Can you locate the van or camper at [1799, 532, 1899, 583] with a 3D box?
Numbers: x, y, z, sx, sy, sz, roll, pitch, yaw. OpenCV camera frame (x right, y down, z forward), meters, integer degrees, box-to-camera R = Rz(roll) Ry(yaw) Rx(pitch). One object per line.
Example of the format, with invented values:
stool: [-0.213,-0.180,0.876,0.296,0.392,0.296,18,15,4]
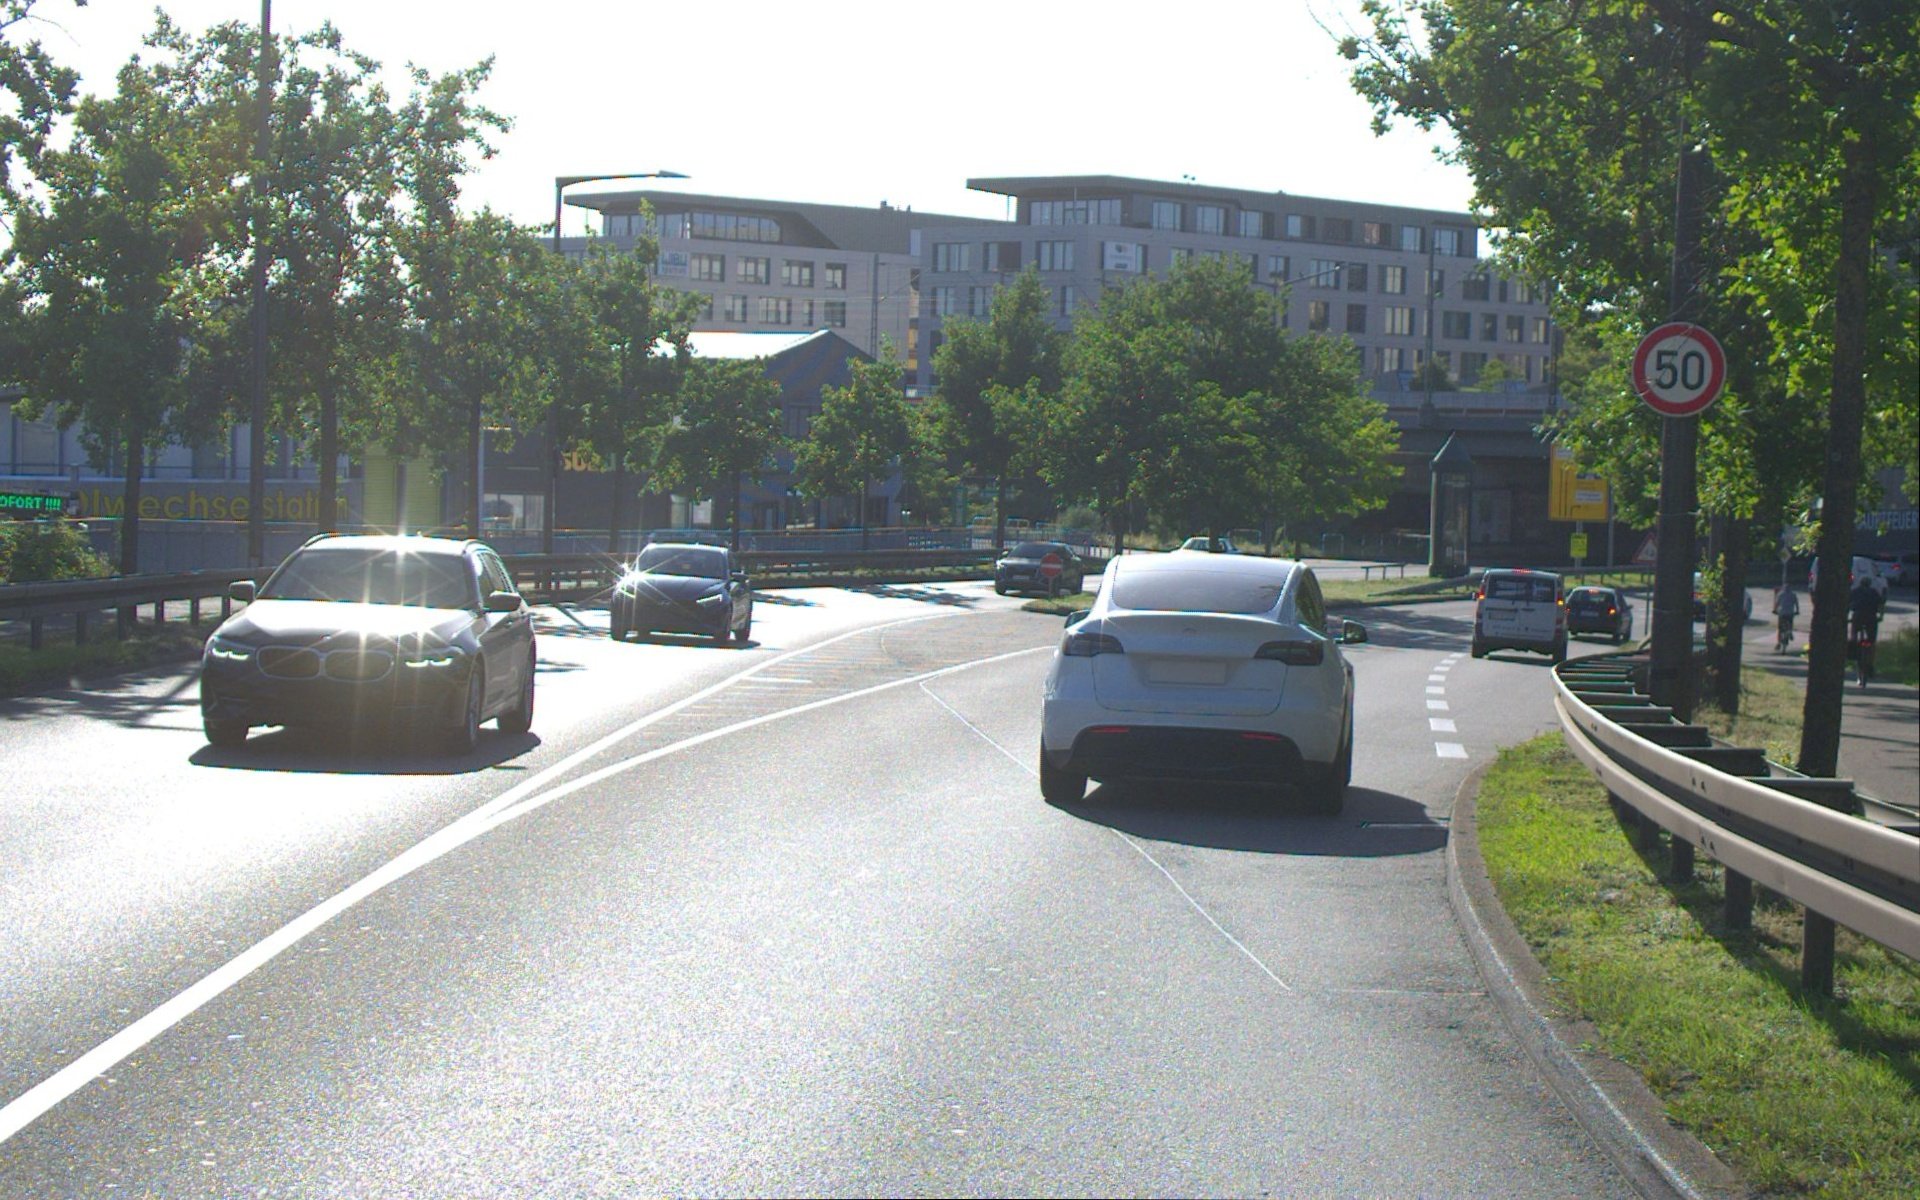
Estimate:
van or camper: [33.341,-1.592,128.854,1.830,1.784,4.534,5,4,38]

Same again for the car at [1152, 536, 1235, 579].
car: [8.340,-1.510,122.375,1.731,1.381,4.492,4,2,19]

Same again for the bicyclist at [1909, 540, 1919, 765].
bicyclist: [7.165,0.364,24.445,0.708,1.573,1.004,1,1,11]

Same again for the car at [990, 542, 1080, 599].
car: [2.153,-0.847,97.981,1.763,1.484,4.275,4,1,11]

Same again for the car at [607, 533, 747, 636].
car: [-4.213,-0.258,51.602,1.664,1.440,3.849,2,1,1]

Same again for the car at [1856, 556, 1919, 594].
car: [40.439,-1.095,148.752,1.712,1.517,3.734,5,4,40]

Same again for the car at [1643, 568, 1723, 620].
car: [23.587,-0.209,112.056,1.765,1.470,4.284,4,3,21]

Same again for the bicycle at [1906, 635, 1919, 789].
bicycle: [7.156,0.798,24.395,0.701,1.071,1.920,1,0,11]

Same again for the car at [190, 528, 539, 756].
car: [-4.228,0.234,25.037,1.809,1.491,4.369,1,1,-1]

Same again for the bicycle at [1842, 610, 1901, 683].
bicycle: [14.666,0.733,55.271,0.696,1.091,2.115,1,1,20]

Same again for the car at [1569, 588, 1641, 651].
car: [17.625,0.513,93.859,1.605,1.429,3.676,4,4,15]

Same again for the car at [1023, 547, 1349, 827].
car: [1.601,0.483,22.871,1.914,1.635,4.409,1,1,7]

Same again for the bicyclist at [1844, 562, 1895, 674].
bicyclist: [14.579,0.277,55.092,0.676,1.770,0.947,1,1,20]

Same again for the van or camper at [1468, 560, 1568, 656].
van or camper: [11.845,0.136,72.780,1.959,1.877,4.878,1,1,10]
